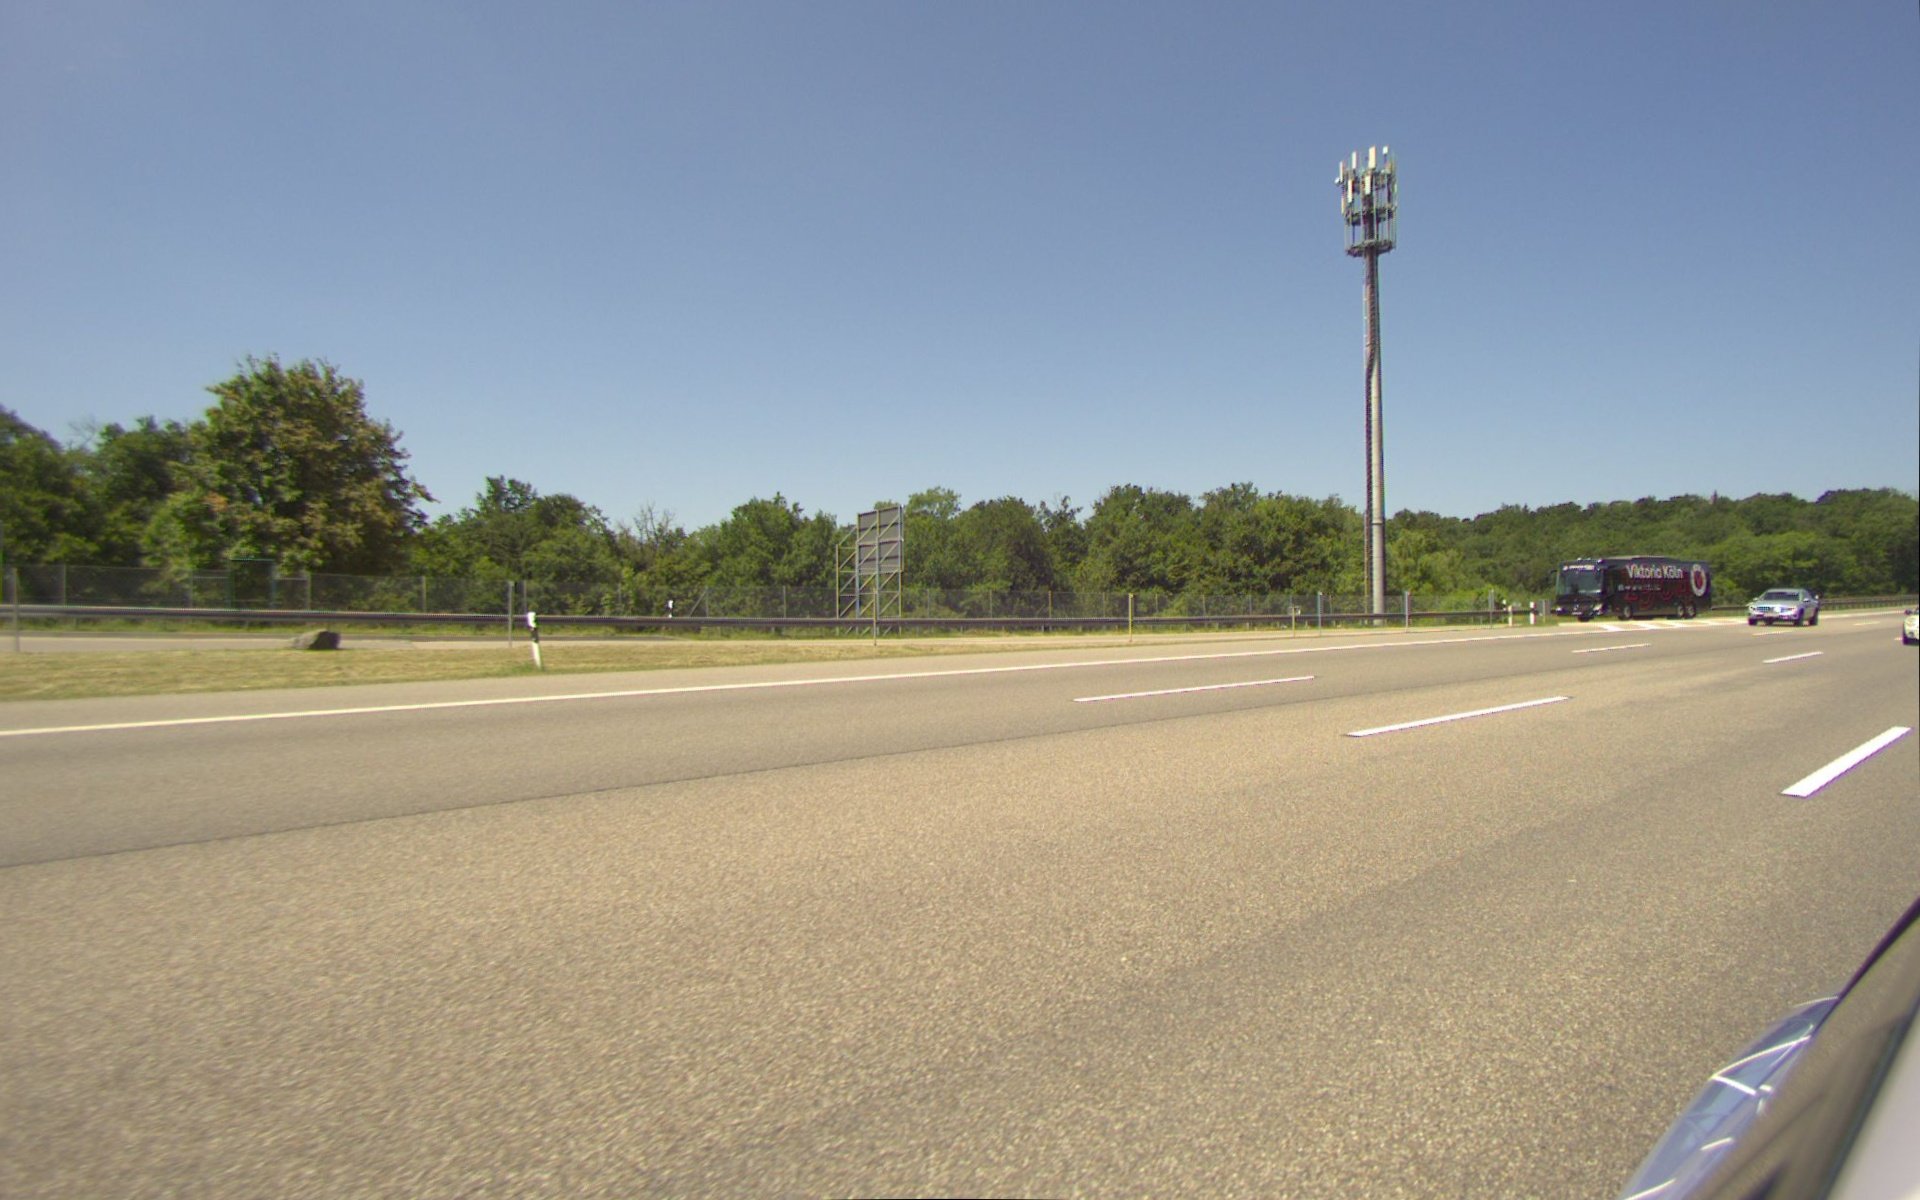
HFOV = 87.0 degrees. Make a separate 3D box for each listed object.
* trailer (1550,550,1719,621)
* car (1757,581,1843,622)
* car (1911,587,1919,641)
[{"bbox_3d":[38.658,-0.901,57.709,13.279,3.734,2.868,-1,0,-32],"label":"trailer"},{"bbox_3d":[37.771,0.070,45.468,5.141,1.753,1.806,0,0,-37],"label":"car"},{"bbox_3d":[29.764,0.389,29.925,3.928,1.571,1.845,-1,0,-39],"label":"car"}]
